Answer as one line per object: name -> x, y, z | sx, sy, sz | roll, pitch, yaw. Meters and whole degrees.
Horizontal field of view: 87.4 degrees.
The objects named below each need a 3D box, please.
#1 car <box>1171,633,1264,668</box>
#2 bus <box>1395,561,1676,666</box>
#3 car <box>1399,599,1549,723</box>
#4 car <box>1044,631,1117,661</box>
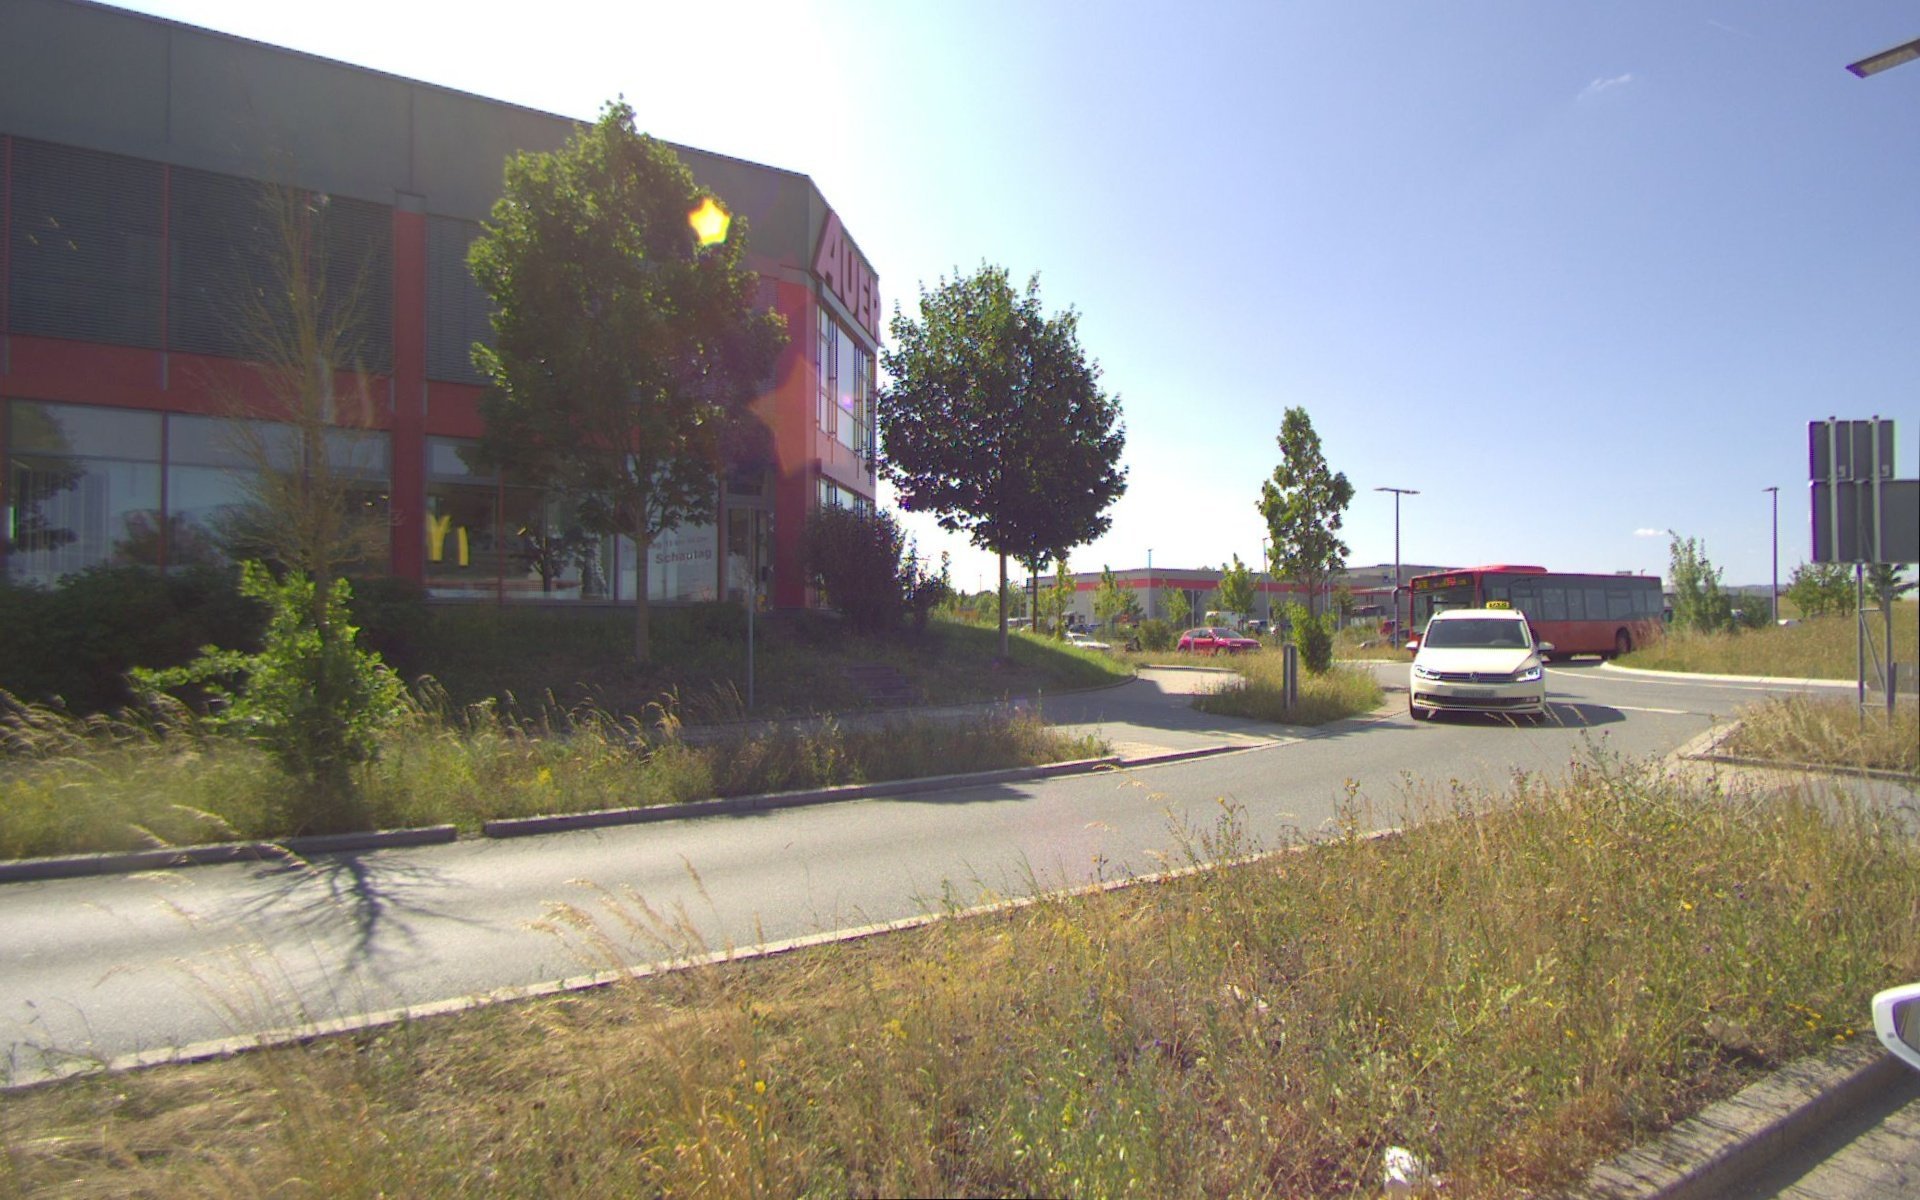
car -> 10.816, 2.087, 42.383 | 1.553, 1.405, 3.971 | 1, -2, -28
bus -> 19.938, 0.434, 34.342 | 12.061, 3.119, 2.774 | 0, -2, -31
car -> 8.309, 0.935, 16.112 | 1.814, 1.687, 4.582 | -3, -3, 29
car -> 6.160, 2.333, 51.638 | 1.632, 1.471, 3.765 | 1, -2, -38
